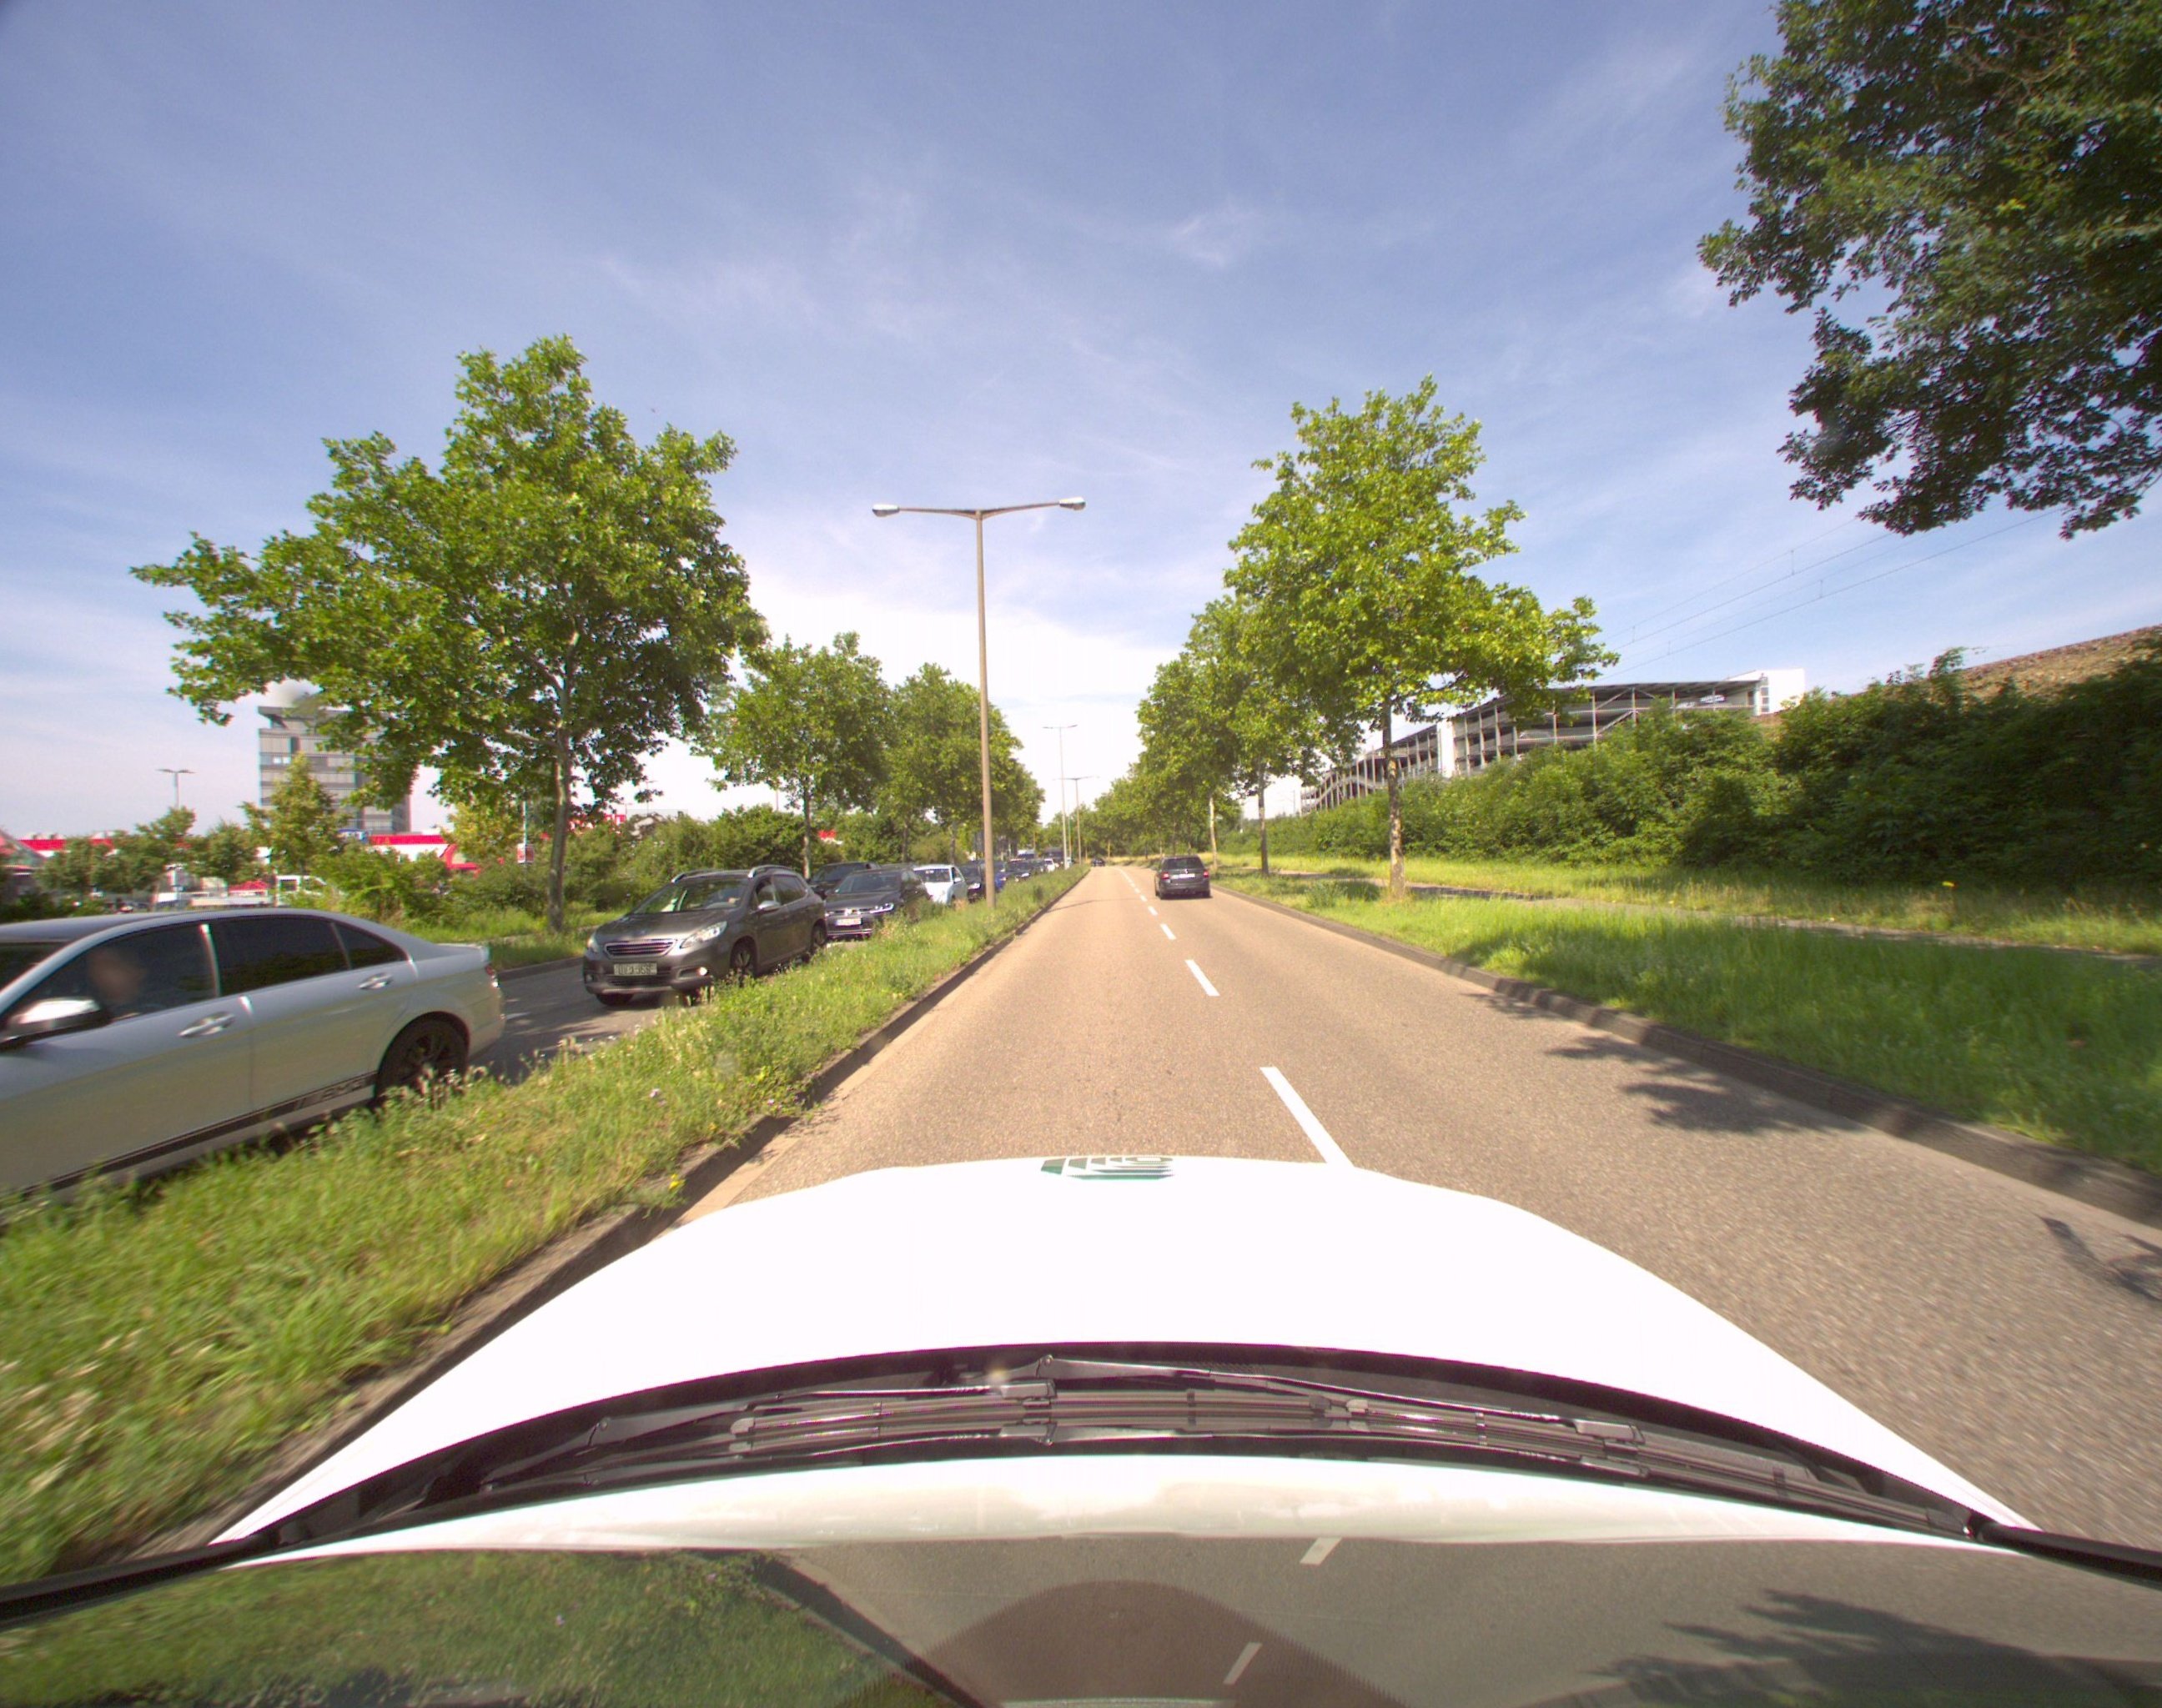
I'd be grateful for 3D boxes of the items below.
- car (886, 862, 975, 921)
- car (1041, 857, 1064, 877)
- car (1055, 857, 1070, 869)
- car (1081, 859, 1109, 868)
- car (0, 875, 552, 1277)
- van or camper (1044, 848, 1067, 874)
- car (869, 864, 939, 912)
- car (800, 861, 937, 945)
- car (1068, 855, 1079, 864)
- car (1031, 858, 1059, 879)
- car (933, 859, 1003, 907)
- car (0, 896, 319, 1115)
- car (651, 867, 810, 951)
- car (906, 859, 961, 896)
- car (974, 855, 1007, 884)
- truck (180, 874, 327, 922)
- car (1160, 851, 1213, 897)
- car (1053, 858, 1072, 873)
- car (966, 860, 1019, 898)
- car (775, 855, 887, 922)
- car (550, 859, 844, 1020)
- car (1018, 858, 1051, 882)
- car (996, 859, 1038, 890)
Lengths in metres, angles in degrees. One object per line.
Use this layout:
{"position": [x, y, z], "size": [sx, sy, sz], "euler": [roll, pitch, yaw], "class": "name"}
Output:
{"position": [-4.282, 1.020, 23.726], "size": [1.682, 1.472, 3.816], "euler": [-3, 0, 2], "class": "car"}
{"position": [-2.435, 1.091, 70.316], "size": [1.682, 1.510, 3.816], "euler": [-3, 0, 2], "class": "car"}
{"position": [-2.483, 1.218, 110.933], "size": [1.682, 1.530, 3.816], "euler": [-3, 0, 2], "class": "car"}
{"position": [2.199, 1.505, 129.622], "size": [1.923, 1.463, 4.569], "euler": [-2, 1, -37], "class": "car"}
{"position": [-5.056, 0.942, 3.970], "size": [1.790, 1.468, 4.525], "euler": [-3, 0, 2], "class": "car"}
{"position": [-2.431, 0.667, 79.480], "size": [1.932, 2.368, 5.397], "euler": [-3, -1, 0], "class": "van or camper"}
{"position": [-7.026, 1.297, 32.693], "size": [1.682, 1.646, 4.180], "euler": [-3, 0, 2], "class": "car"}
{"position": [-4.507, 0.972, 17.941], "size": [1.682, 1.473, 4.220], "euler": [-4, 0, 2], "class": "car"}
{"position": [-1.455, 1.047, 153.775], "size": [1.903, 1.463, 4.579], "euler": [-3, -1, -1], "class": "car"}
{"position": [-2.772, 1.104, 63.891], "size": [1.777, 1.459, 4.474], "euler": [-3, 0, 2], "class": "car"}
{"position": [-4.172, 1.041, 30.869], "size": [1.751, 1.530, 4.830], "euler": [-3, 0, 2], "class": "car"}
{"position": [-8.546, 1.206, 6.421], "size": [1.559, 1.452, 3.546], "euler": [-5, 0, 2], "class": "car"}
{"position": [-7.796, 1.155, 18.566], "size": [1.683, 1.530, 4.084], "euler": [-4, 0, 1], "class": "car"}
{"position": [-7.011, 1.084, 39.041], "size": [1.682, 1.530, 3.941], "euler": [-3, 0, 2], "class": "car"}
{"position": [-6.381, 1.093, 57.672], "size": [1.682, 1.858, 4.038], "euler": [-3, -1, 2], "class": "car"}
{"position": [-42.988, 2.214, 42.491], "size": [5.256, 2.128, 1.975], "euler": [-2, 0, -45], "class": "truck"}
{"position": [3.593, 0.630, 27.978], "size": [1.665, 1.453, 4.043], "euler": [-1, 0, 7], "class": "car"}
{"position": [-1.976, 1.218, 86.985], "size": [1.682, 1.530, 3.816], "euler": [-3, -1, 2], "class": "car"}
{"position": [-3.909, 1.074, 36.731], "size": [1.778, 1.489, 4.211], "euler": [-3, 0, 1], "class": "car"}
{"position": [-7.431, 0.987, 24.704], "size": [1.815, 1.737, 4.768], "euler": [-3, -1, 0], "class": "car"}
{"position": [-4.707, 0.924, 10.782], "size": [1.682, 1.586, 4.242], "euler": [-3, 0, 2], "class": "car"}
{"position": [-3.244, 1.087, 57.835], "size": [1.806, 1.530, 4.644], "euler": [-3, 0, 2], "class": "car"}
{"position": [-3.430, 1.077, 44.618], "size": [1.817, 1.465, 4.450], "euler": [-3, 0, 1], "class": "car"}
